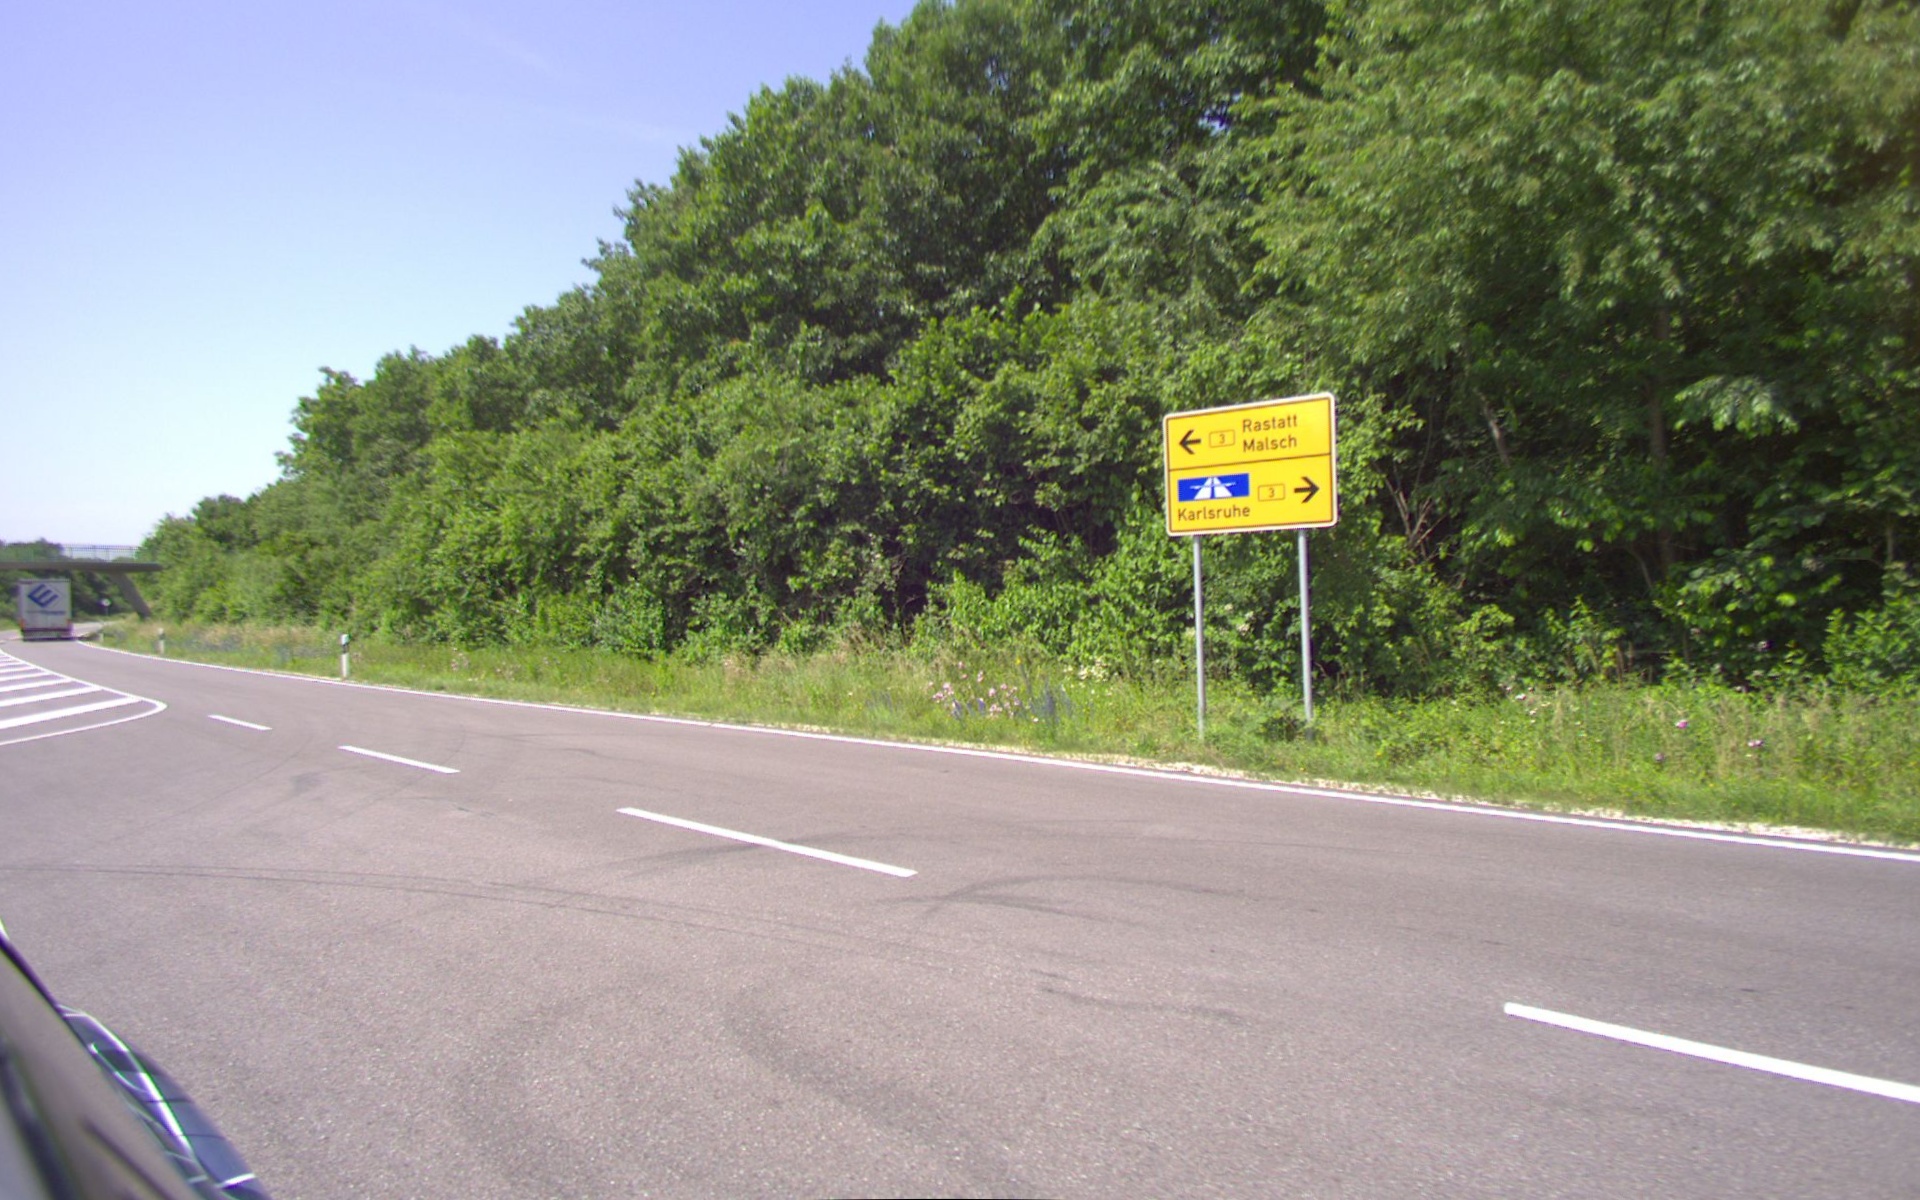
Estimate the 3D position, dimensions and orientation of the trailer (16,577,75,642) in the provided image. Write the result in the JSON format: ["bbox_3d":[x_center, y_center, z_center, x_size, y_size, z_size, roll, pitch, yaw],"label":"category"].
[{"bbox_3d":[-61.276,0.658,67.937,2.793,4.127,9.013,-1,0,-41],"label":"trailer"}]
